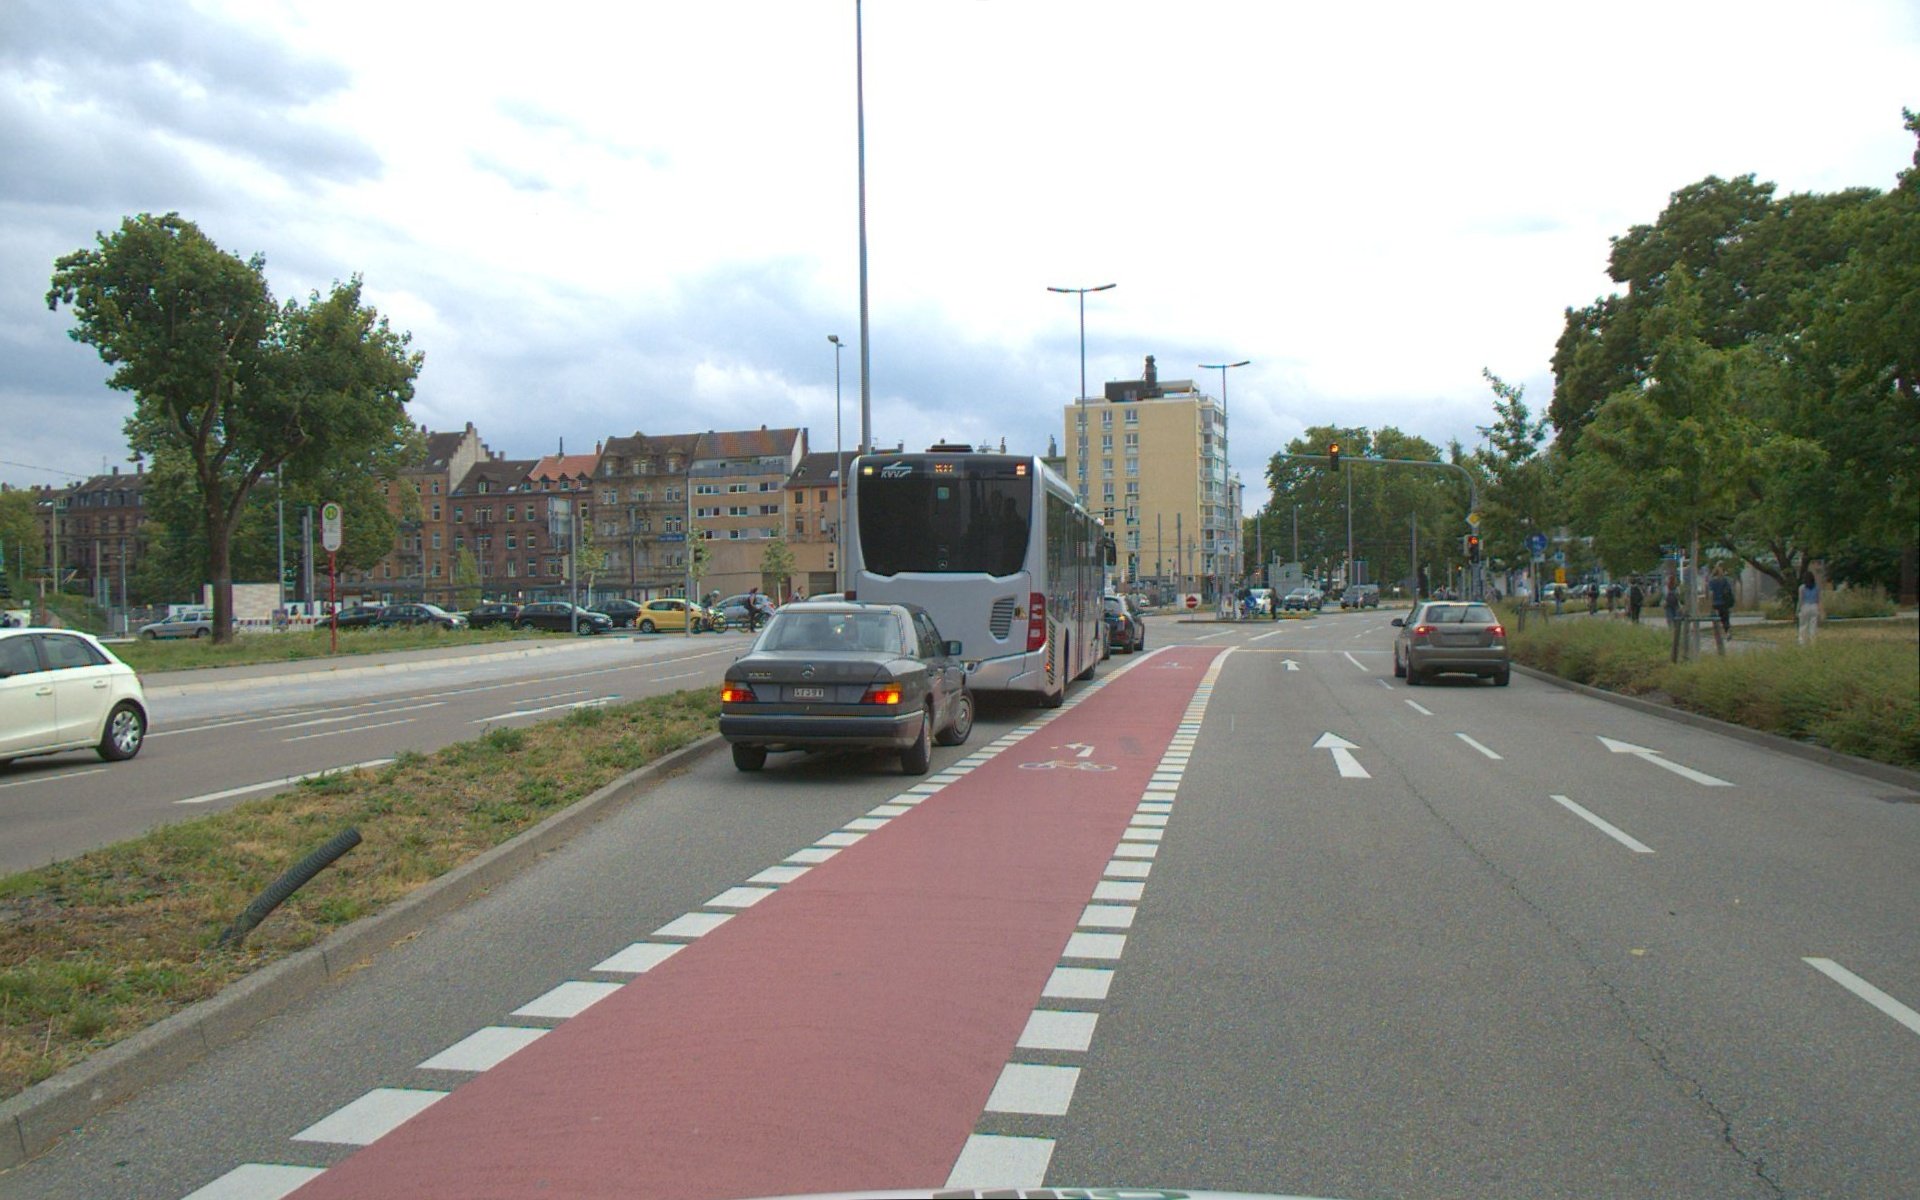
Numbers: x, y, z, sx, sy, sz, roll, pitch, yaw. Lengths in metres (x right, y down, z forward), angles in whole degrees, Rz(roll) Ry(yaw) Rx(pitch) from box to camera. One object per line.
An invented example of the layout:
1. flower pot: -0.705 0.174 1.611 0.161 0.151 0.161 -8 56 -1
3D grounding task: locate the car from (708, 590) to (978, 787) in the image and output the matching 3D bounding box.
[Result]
1. car: -0.909 0.688 15.108 1.724 1.515 4.174 -1 0 6

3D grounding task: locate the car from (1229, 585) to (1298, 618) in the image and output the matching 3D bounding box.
1. car: 20.870 0.102 113.393 2.539 2.146 5.581 -1 0 35

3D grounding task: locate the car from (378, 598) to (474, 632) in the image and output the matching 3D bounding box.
1. car: -23.512 0.658 72.879 3.684 1.419 1.585 0 0 4

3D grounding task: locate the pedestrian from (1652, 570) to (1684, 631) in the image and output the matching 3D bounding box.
1. pedestrian: 20.402 0.005 47.667 0.785 1.743 0.765 -1 0 22

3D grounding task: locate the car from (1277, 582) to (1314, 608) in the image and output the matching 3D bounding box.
1. car: 24.891 -0.374 122.511 1.771 1.883 3.997 -1 0 25

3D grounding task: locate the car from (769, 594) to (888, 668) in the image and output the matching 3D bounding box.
1. car: -3.009 0.683 38.762 1.717 1.515 4.381 -2 1 10

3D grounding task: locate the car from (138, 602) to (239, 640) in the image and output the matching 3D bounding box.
1. car: -37.025 1.000 79.420 4.067 1.678 1.648 -1 0 3

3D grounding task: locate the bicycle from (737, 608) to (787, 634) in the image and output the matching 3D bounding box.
1. bicycle: -8.243 0.865 68.842 1.922 0.999 0.631 -1 0 8

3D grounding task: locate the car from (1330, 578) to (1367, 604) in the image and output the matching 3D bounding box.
1. car: 31.603 -0.732 134.369 1.955 2.049 3.995 -1 0 28

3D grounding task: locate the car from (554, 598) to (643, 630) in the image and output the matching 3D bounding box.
1. car: -16.728 0.659 76.606 3.684 1.419 1.585 0 0 4

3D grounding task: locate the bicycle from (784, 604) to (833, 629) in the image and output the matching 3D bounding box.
1. bicycle: -6.261 0.675 68.285 1.922 0.999 0.631 -1 0 7

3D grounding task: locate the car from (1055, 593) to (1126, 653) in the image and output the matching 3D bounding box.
1. car: 3.370 0.551 42.275 1.620 1.421 3.863 -1 0 7

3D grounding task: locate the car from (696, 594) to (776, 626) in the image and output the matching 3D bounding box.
1. car: -10.360 0.464 76.513 3.605 1.419 1.581 0 0 -10

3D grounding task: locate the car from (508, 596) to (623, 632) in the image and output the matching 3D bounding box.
1. car: -17.186 0.620 72.064 4.570 1.501 1.661 0 0 4

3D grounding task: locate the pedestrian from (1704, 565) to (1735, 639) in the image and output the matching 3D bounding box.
1. pedestrian: 18.257 0.043 39.774 0.633 1.743 0.561 -1 0 24

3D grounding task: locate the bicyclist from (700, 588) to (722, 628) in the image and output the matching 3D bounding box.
1. bicyclist: -10.447 0.339 69.351 0.770 1.672 0.573 -1 0 4

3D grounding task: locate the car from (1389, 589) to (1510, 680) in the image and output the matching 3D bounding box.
1. car: 8.743 0.575 29.796 1.687 1.483 3.739 -1 0 11

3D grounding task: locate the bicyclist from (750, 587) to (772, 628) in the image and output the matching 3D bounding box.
1. bicyclist: -8.275 0.316 68.849 0.769 1.672 0.573 -1 0 9

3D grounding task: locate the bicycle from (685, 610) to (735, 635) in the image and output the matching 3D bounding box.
1. bicycle: -10.484 0.928 69.353 1.923 0.999 0.631 -1 0 4

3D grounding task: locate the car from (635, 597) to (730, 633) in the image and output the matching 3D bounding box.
1. car: -12.052 0.644 72.010 3.775 1.544 1.661 0 0 4

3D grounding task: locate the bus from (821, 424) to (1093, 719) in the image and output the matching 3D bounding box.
1. bus: 0.274 -0.367 23.698 2.771 3.449 8.189 -1 0 7

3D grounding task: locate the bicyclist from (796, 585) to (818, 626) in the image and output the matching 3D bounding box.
1. bicyclist: -6.325 0.207 68.290 0.769 1.672 0.614 -1 0 7

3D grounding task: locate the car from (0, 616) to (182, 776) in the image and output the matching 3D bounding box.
1. car: -9.512 0.950 15.934 1.635 1.413 3.926 -3 0 10

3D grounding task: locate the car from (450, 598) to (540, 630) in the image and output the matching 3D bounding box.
1. car: -21.599 0.648 76.859 3.684 1.419 1.585 0 0 4

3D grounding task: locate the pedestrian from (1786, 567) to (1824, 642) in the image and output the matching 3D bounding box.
1. pedestrian: 17.081 0.092 33.440 0.644 1.496 0.561 -1 0 26

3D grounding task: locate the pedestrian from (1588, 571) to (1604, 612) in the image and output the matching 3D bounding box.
1. pedestrian: 32.434 -0.445 84.340 0.601 2.049 0.598 -1 0 8
